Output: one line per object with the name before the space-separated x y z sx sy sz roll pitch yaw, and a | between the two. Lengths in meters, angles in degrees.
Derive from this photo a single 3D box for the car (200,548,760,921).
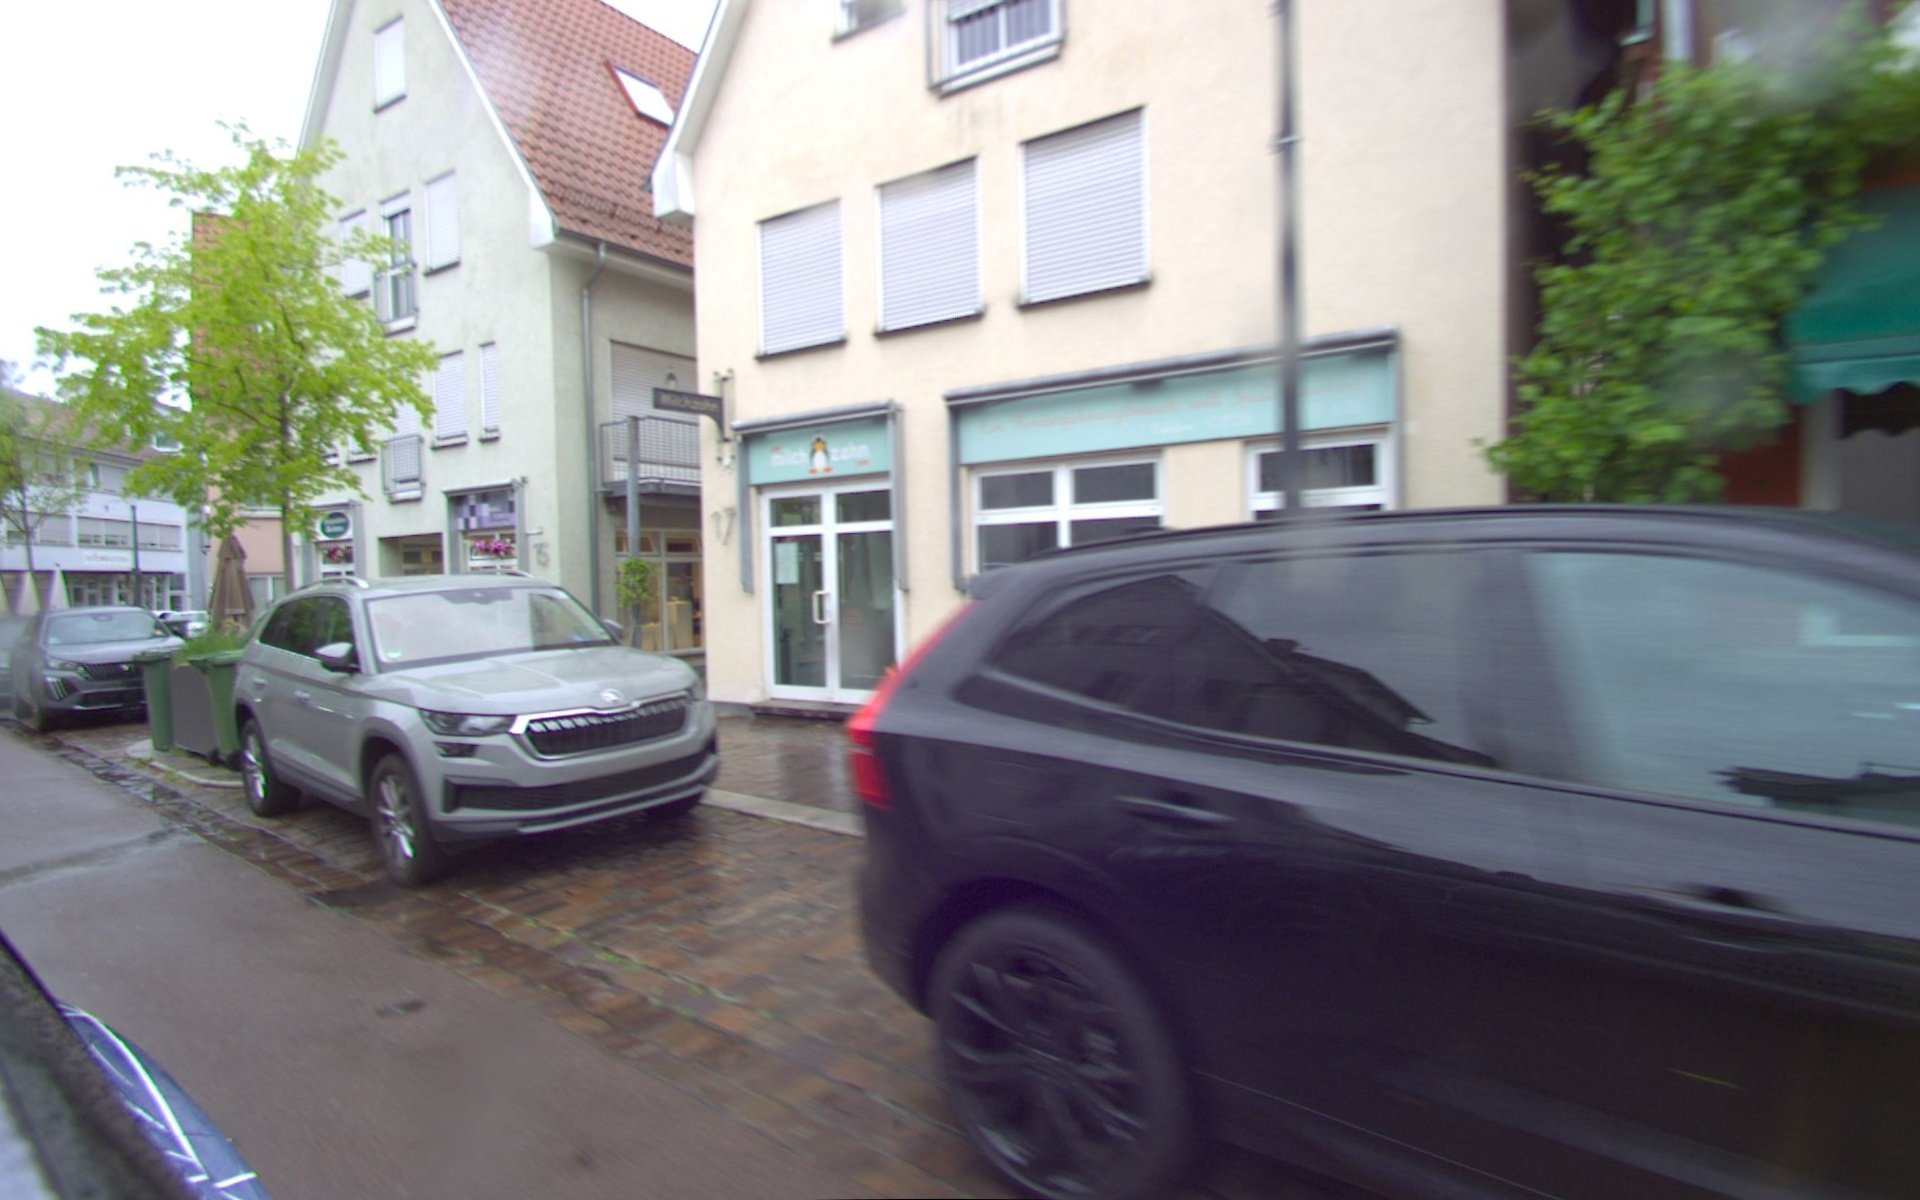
car | -3.431 0.576 6.756 4.479 1.687 1.753 0 3 42

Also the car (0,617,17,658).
car | -36.939 1.429 37.055 1.667 1.551 4.416 -1 -1 -16

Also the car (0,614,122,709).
car | -16.561 1.054 17.753 4.618 1.443 1.785 -2 0 36

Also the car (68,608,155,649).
car | -40.080 1.313 47.935 1.666 1.702 4.292 -1 1 -18

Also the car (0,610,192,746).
car | -12.188 0.960 14.155 3.976 1.557 1.576 0 1 42

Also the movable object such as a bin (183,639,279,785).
movable object such as a bin | -6.546 0.977 9.089 0.523 1.210 0.595 0 1 44

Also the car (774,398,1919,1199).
car | 1.786 0.551 2.157 4.536 1.687 1.815 0 1 40

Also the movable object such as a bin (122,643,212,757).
movable object such as a bin | -8.282 1.021 10.571 0.725 1.087 0.614 0 1 42

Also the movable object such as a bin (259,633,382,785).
movable object such as a bin | -5.652 0.924 8.947 0.749 1.210 0.736 0 1 42

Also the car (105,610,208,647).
car | -36.461 1.271 46.057 1.968 1.464 4.008 -1 1 -9

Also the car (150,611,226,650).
car | -31.051 1.176 40.789 1.666 1.433 3.829 -1 0 -25

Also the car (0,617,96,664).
car | -38.084 1.655 42.134 1.667 1.702 3.969 -1 1 -16
